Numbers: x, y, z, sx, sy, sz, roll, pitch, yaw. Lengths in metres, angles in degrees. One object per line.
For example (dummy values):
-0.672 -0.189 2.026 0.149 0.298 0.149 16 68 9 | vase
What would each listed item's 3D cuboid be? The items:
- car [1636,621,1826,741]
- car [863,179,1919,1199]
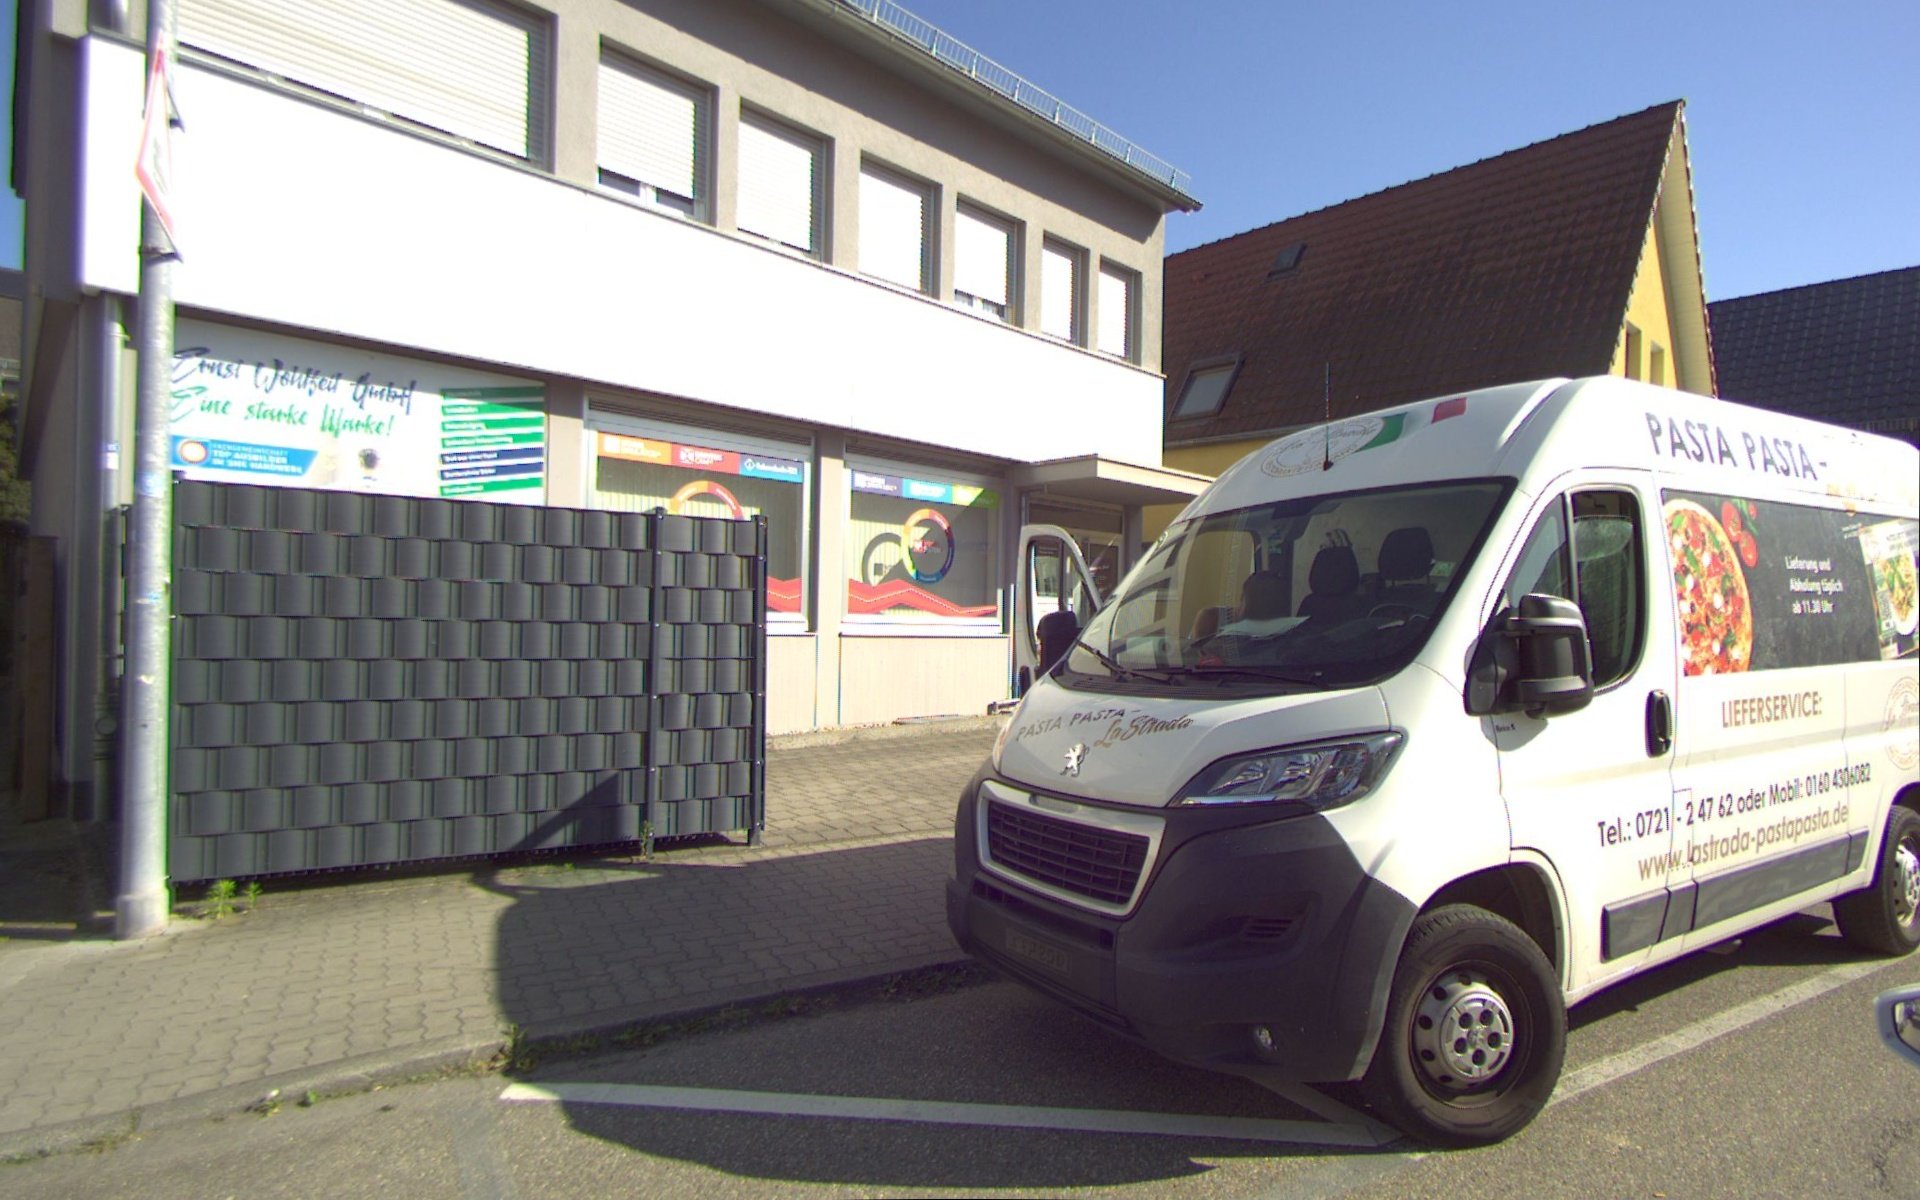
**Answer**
11.422 1.083 14.773 4.149 1.464 1.671 2 0 -45 | car
2.488 0.344 4.730 5.454 2.503 2.240 1 -1 -32 | car
